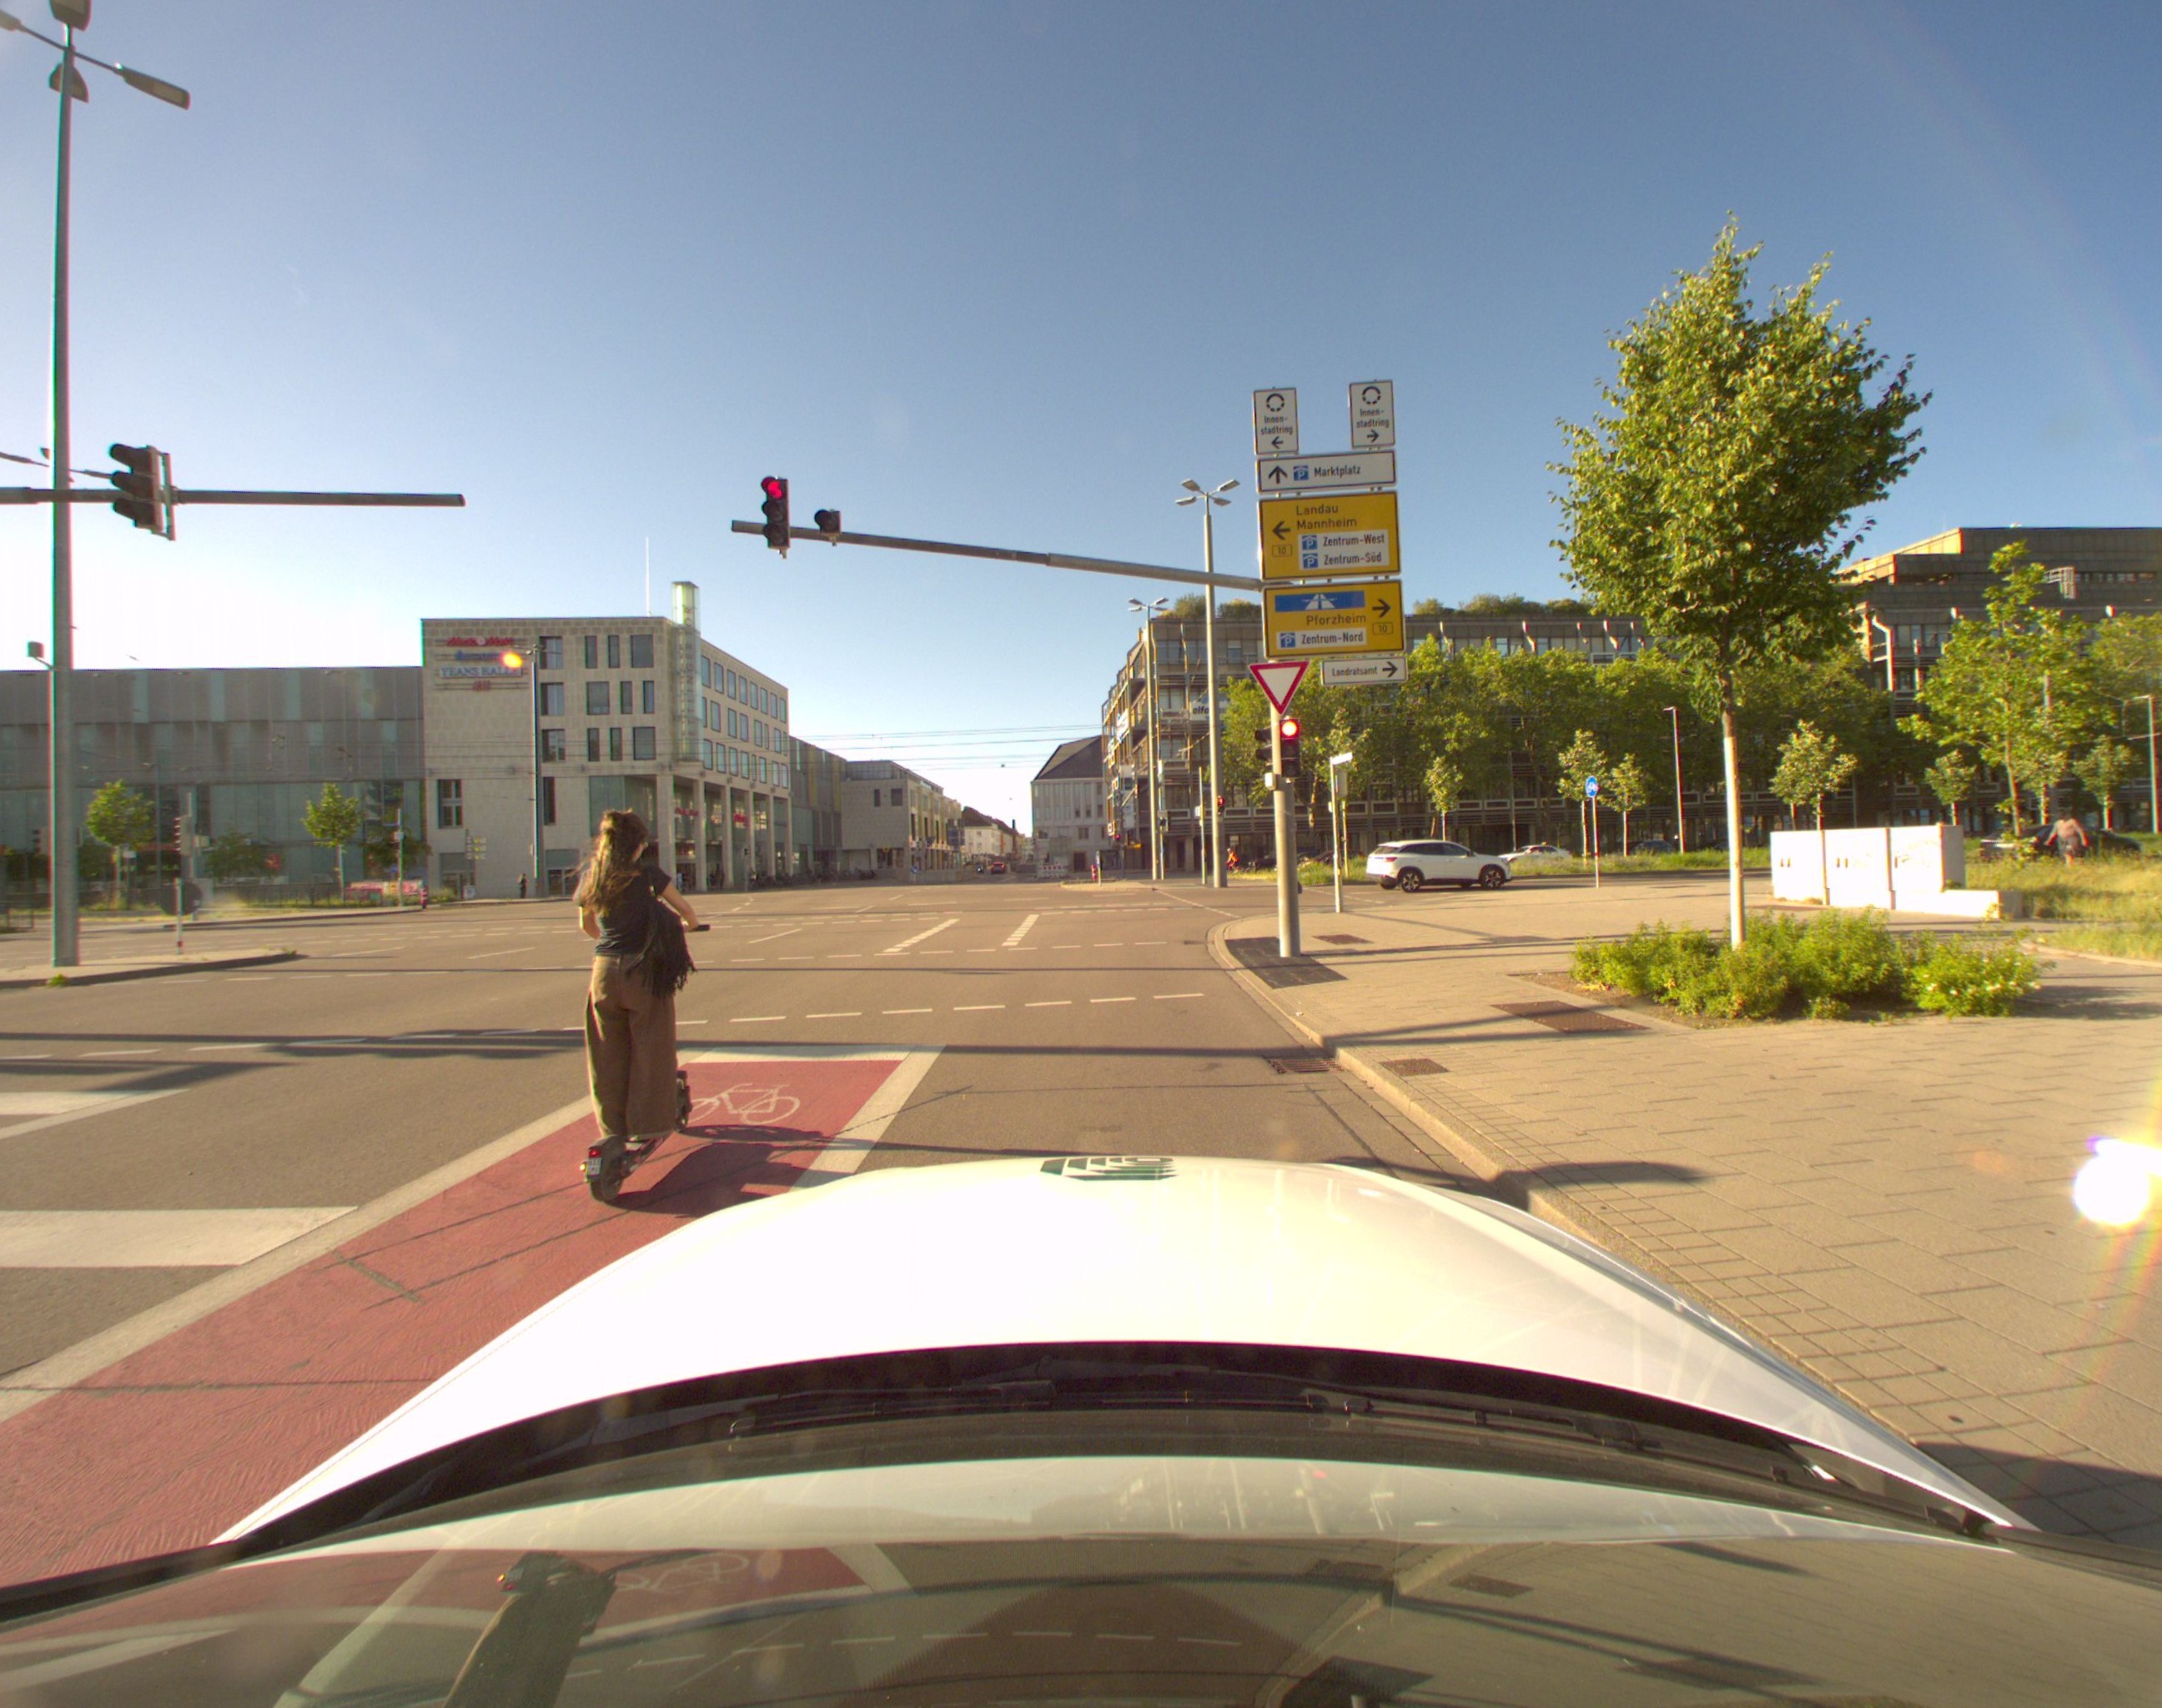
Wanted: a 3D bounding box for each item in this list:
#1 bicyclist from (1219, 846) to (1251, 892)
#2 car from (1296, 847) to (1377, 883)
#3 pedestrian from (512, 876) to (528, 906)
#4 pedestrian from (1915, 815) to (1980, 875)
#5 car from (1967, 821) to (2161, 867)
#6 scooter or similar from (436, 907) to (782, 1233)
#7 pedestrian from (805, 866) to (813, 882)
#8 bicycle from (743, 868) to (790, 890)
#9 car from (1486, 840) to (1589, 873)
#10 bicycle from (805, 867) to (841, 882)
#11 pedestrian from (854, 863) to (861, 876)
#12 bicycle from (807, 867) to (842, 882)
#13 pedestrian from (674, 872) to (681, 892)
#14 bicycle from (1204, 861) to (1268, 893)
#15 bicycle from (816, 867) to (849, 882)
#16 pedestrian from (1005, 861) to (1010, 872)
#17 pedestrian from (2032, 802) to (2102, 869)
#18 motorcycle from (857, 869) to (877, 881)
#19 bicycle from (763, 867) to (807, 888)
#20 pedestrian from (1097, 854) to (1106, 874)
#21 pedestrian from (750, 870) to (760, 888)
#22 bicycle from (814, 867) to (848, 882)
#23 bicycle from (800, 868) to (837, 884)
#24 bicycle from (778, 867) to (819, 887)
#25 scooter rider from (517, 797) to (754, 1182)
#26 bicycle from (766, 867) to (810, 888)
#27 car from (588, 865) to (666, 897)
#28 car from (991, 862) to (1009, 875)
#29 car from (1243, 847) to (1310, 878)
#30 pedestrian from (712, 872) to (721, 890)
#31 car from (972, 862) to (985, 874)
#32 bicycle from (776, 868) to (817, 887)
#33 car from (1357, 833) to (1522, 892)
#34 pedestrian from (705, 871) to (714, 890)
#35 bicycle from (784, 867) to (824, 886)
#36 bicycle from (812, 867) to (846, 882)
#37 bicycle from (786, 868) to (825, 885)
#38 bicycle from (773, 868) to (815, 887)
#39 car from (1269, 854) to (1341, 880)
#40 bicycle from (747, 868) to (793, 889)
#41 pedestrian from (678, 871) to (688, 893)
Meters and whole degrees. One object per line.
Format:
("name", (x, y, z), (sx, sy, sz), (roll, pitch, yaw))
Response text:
("bicyclist", (8.885, 0.857, 47.075), (1.566, 2.580, 0.929), (-2, 0, -7))
("car", (14.452, 0.621, 46.213), (3.975, 2.014, 1.999), (0, -1, -1))
("pedestrian", (-32.583, 2.149, 47.292), (0.525, 1.694, 0.546), (-2, 0, -8))
("pedestrian", (24.324, -0.258, 22.873), (0.801, 1.630, 0.939), (-2, 0, -12))
("car", (35.506, -0.363, 29.465), (4.925, 1.601, 1.999), (0, 1, -2))
("scooter or similar", (-2.230, 0.933, 4.146), (0.725, 1.202, 1.665), (-1, 0, 2))
("pedestrian", (-30.135, 2.209, 90.089), (0.652, 1.642, 0.693), (-2, 0, -7))
("bicycle", (-26.733, 2.096, 69.298), (3.488, 1.696, 1.114), (-2, 0, -7))
("car", (28.893, 0.147, 51.658), (5.424, 2.014, 2.097), (0, -1, -1))
("bicycle", (-27.655, 2.212, 87.454), (3.491, 1.527, 0.984), (-2, 0, -10))
("pedestrian", (-29.804, 2.096, 108.445), (0.696, 1.642, 0.693), (-2, 0, -6))
("bicycle", (-27.924, 2.212, 88.583), (3.491, 1.527, 0.984), (-2, 0, -10))
("pedestrian", (-32.605, 2.286, 65.789), (0.385, 1.585, 0.367), (-2, 0, -3))
("bicycle", (8.926, 1.317, 47.071), (3.488, 1.659, 0.929), (-2, 0, -7))
("bicycle", (-28.291, 2.329, 92.783), (3.491, 1.527, 0.984), (-2, 0, -10))
("pedestrian", (-9.773, 1.701, 108.941), (0.608, 1.411, 0.569), (-2, 0, -5))
("pedestrian", (26.167, -0.473, 21.622), (0.694, 1.728, 0.939), (-2, 0, -12))
("motorcycle", (-25.970, 2.535, 98.870), (2.269, 1.318, 0.719), (-2, 0, -4))
("bicycle", (-26.145, 2.070, 71.959), (3.488, 1.696, 1.114), (-2, 0, -7))
("pedestrian", (1.765, 0.881, 69.752), (0.661, 1.658, 0.755), (-2, 0, -1))
("pedestrian", (-30.531, 2.296, 76.329), (0.788, 1.642, 0.689), (-2, 0, -27))
("bicycle", (-28.174, 2.291, 91.753), (3.491, 1.527, 0.984), (-2, 0, -10))
("bicycle", (-27.549, 2.291, 85.586), (3.491, 1.527, 0.984), (-2, 0, -10))
("bicycle", (-27.045, 2.210, 78.071), (3.491, 1.696, 0.984), (-2, 0, -10))
("scooter rider", (-2.238, 0.631, 4.195), (0.726, 1.775, 0.811), (-1, 0, 1))
("bicycle", (-26.321, 2.115, 73.179), (3.488, 1.696, 1.114), (-2, 0, -7))
("car", (-27.515, 1.665, 49.351), (4.423, 1.607, 2.013), (-4, 0, 29))
("car", (-10.792, 1.883, 108.865), (2.195, 1.607, 4.320), (-2, 0, -4))
("car", (12.839, 0.562, 53.628), (3.975, 2.014, 1.999), (0, -1, -1))
("pedestrian", (-32.070, 2.385, 71.680), (0.480, 1.510, 0.513), (-2, 0, -3))
("car", (-17.097, 2.338, 135.821), (1.752, 1.783, 3.997), (-2, 0, -2))
("bicycle", (-26.857, 2.199, 76.862), (3.491, 1.696, 0.984), (-2, 0, -10))
("car", (11.383, 0.235, 26.081), (4.380, 1.660, 1.999), (-2, 1, -2))
("pedestrian", (-32.405, 2.322, 71.053), (0.480, 1.585, 0.513), (-2, 0, -3))
("bicycle", (-27.250, 2.234, 80.167), (3.491, 1.696, 0.984), (-2, 0, -10))
("bicycle", (-27.931, 2.249, 90.360), (3.491, 1.527, 0.984), (-2, 0, -10))
("bicycle", (-27.411, 2.226, 81.164), (3.491, 1.527, 0.984), (-2, 0, -10))
("bicycle", (-26.681, 2.180, 75.766), (3.491, 1.696, 0.984), (-2, 0, -10))
("car", (13.851, 0.784, 50.479), (3.976, 1.508, 1.867), (-1, 0, -2))
("bicycle", (-26.911, 2.123, 70.503), (3.488, 1.696, 1.114), (-2, 0, -7))
("pedestrian", (-30.313, 2.150, 61.966), (0.541, 1.642, 0.547), (-2, 0, -15))
